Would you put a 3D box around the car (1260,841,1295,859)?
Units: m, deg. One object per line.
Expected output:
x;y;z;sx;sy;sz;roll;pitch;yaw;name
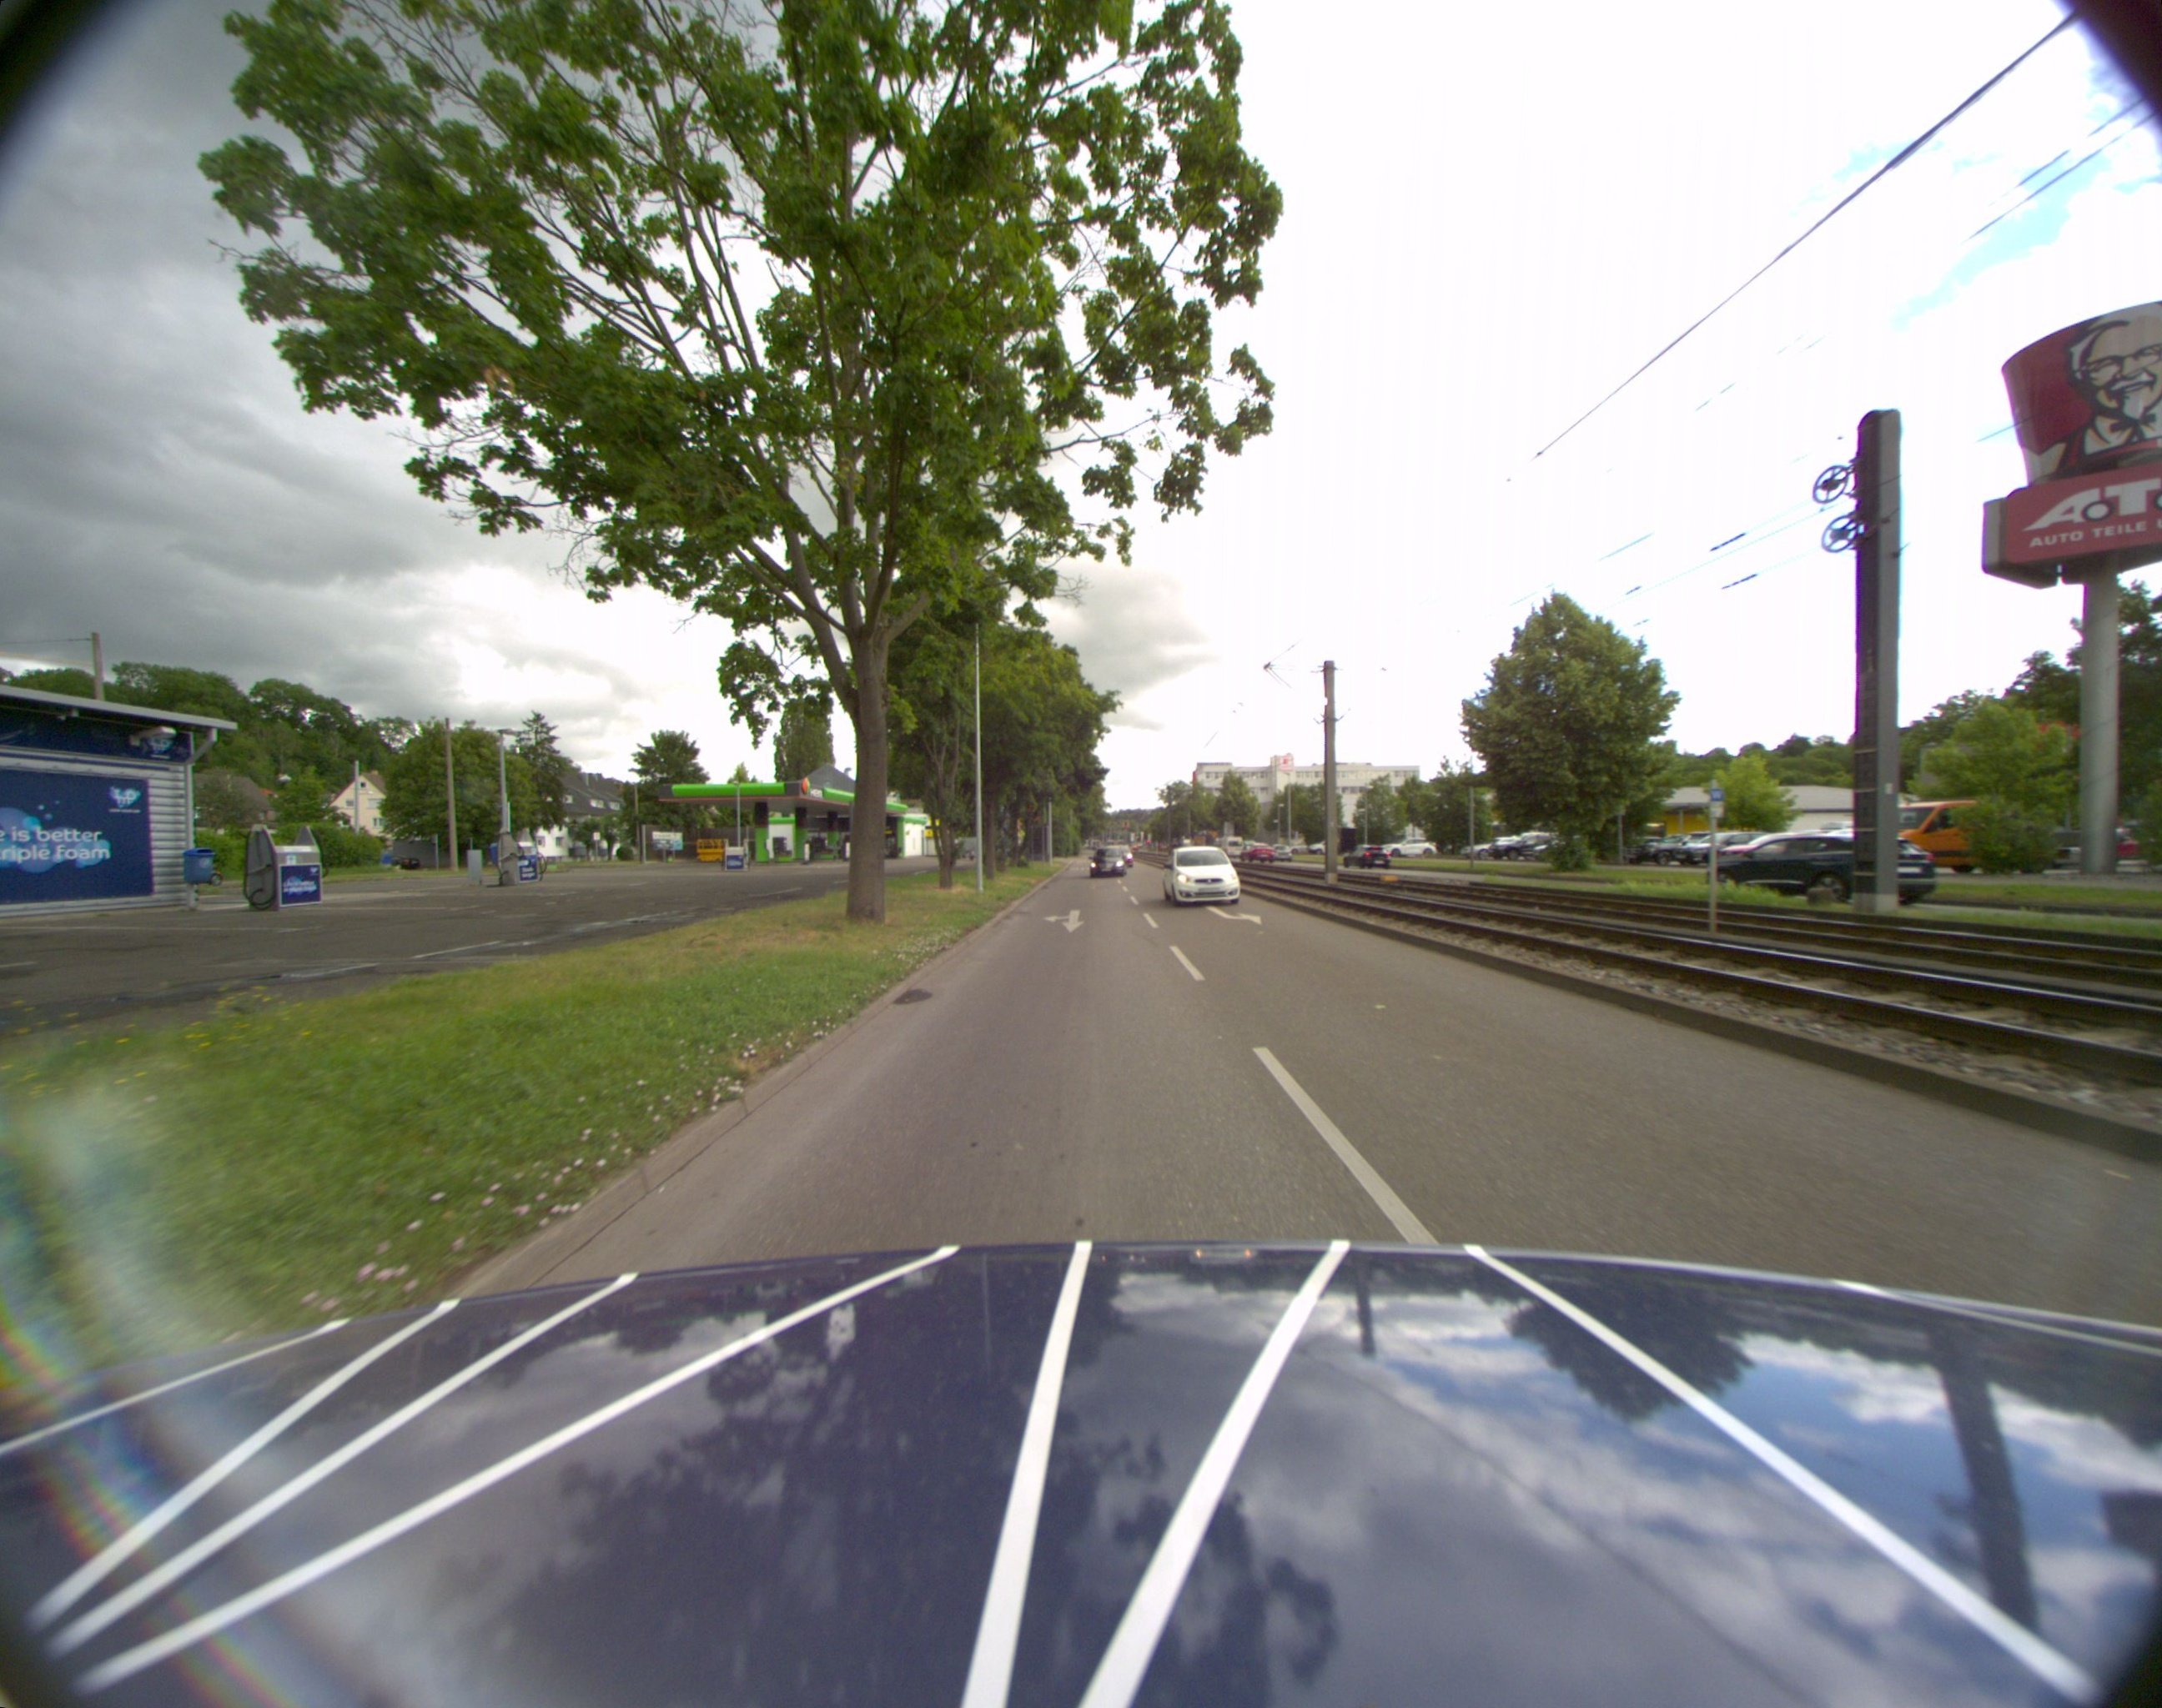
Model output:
17.256;-0.371;66.927;1.999;1.474;3.999;1;1;0;car

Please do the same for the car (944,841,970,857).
-13.381;-0.544;82.210;1.998;1.629;4.326;2;1;1;car

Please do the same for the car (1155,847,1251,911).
3.159;0.579;20.384;1.786;1.435;3.999;-3;1;-1;car

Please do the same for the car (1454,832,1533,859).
26.745;-0.531;49.328;3.997;1.498;2.002;-3;1;0;car

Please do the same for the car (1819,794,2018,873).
26.421;-0.632;24.095;3.997;2.153;2.058;-3;1;0;car

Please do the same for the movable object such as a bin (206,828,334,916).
-17.472;0.369;16.424;1.161;1.808;1.455;-1;1;-3;movable object such as a bin

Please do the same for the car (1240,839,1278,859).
14.216;-0.428;60.862;1.788;1.573;4.480;0;1;-2;car

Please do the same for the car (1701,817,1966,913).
17.602;0.211;18.133;1.999;2.002;4.245;-1;1;-3;car

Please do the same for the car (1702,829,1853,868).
26.825;-0.223;29.373;3.997;1.229;2.000;-3;1;0;car

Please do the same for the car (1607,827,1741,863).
26.935;-0.421;34.631;4.384;1.346;2.195;-3;1;0;car

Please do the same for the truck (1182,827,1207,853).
18.292;-2.204;122.682;2.899;3.944;8.630;0;1;1;truck

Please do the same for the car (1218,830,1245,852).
17.679;-1.513;89.434;1.874;2.485;5.998;1;1;0;car

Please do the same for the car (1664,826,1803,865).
27.334;-0.369;31.926;3.997;1.359;2.093;-3;1;0;car

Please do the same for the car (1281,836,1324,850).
26.910;-1.337;92.251;4.611;1.484;2.000;-3;1;4;car

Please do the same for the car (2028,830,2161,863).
44.556;-0.347;33.300;3.738;1.381;1.951;0;1;-2;car

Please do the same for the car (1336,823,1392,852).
27.161;-1.565;73.104;4.481;2.733;2.288;0;1;0;car

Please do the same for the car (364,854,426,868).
-64.039;0.649;70.962;3.998;1.212;1.842;-1;1;-4;car

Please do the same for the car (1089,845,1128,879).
1.417;0.361;40.537;1.786;1.614;3.999;-3;1;-2;car

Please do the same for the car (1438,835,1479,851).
38.078;-1.128;76.628;4.006;1.399;1.995;-4;1;-33;car

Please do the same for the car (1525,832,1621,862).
27.066;-0.397;41.906;3.997;1.413;1.937;-3;1;0;car

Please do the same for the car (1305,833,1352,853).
26.932;-1.203;82.758;4.355;1.908;2.000;-3;1;4;car

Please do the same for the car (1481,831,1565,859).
27.141;-0.559;46.750;3.997;1.498;1.937;-3;1;0;car

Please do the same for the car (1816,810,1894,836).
54.892;-2.195;53.922;3.738;1.613;1.723;-3;1;-1;car

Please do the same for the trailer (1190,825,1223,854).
18.187;-2.077;111.169;2.678;3.874;14.423;1;1;1;trailer

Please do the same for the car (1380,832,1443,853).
27.849;-0.957;64.031;4.482;1.498;1.795;-3;1;-2;car

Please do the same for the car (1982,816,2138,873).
38.996;-0.378;30.337;3.738;2.002;1.951;-3;1;-1;car

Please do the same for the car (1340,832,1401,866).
17.577;-0.312;46.379;1.999;2.002;3.998;1;1;-3;car
